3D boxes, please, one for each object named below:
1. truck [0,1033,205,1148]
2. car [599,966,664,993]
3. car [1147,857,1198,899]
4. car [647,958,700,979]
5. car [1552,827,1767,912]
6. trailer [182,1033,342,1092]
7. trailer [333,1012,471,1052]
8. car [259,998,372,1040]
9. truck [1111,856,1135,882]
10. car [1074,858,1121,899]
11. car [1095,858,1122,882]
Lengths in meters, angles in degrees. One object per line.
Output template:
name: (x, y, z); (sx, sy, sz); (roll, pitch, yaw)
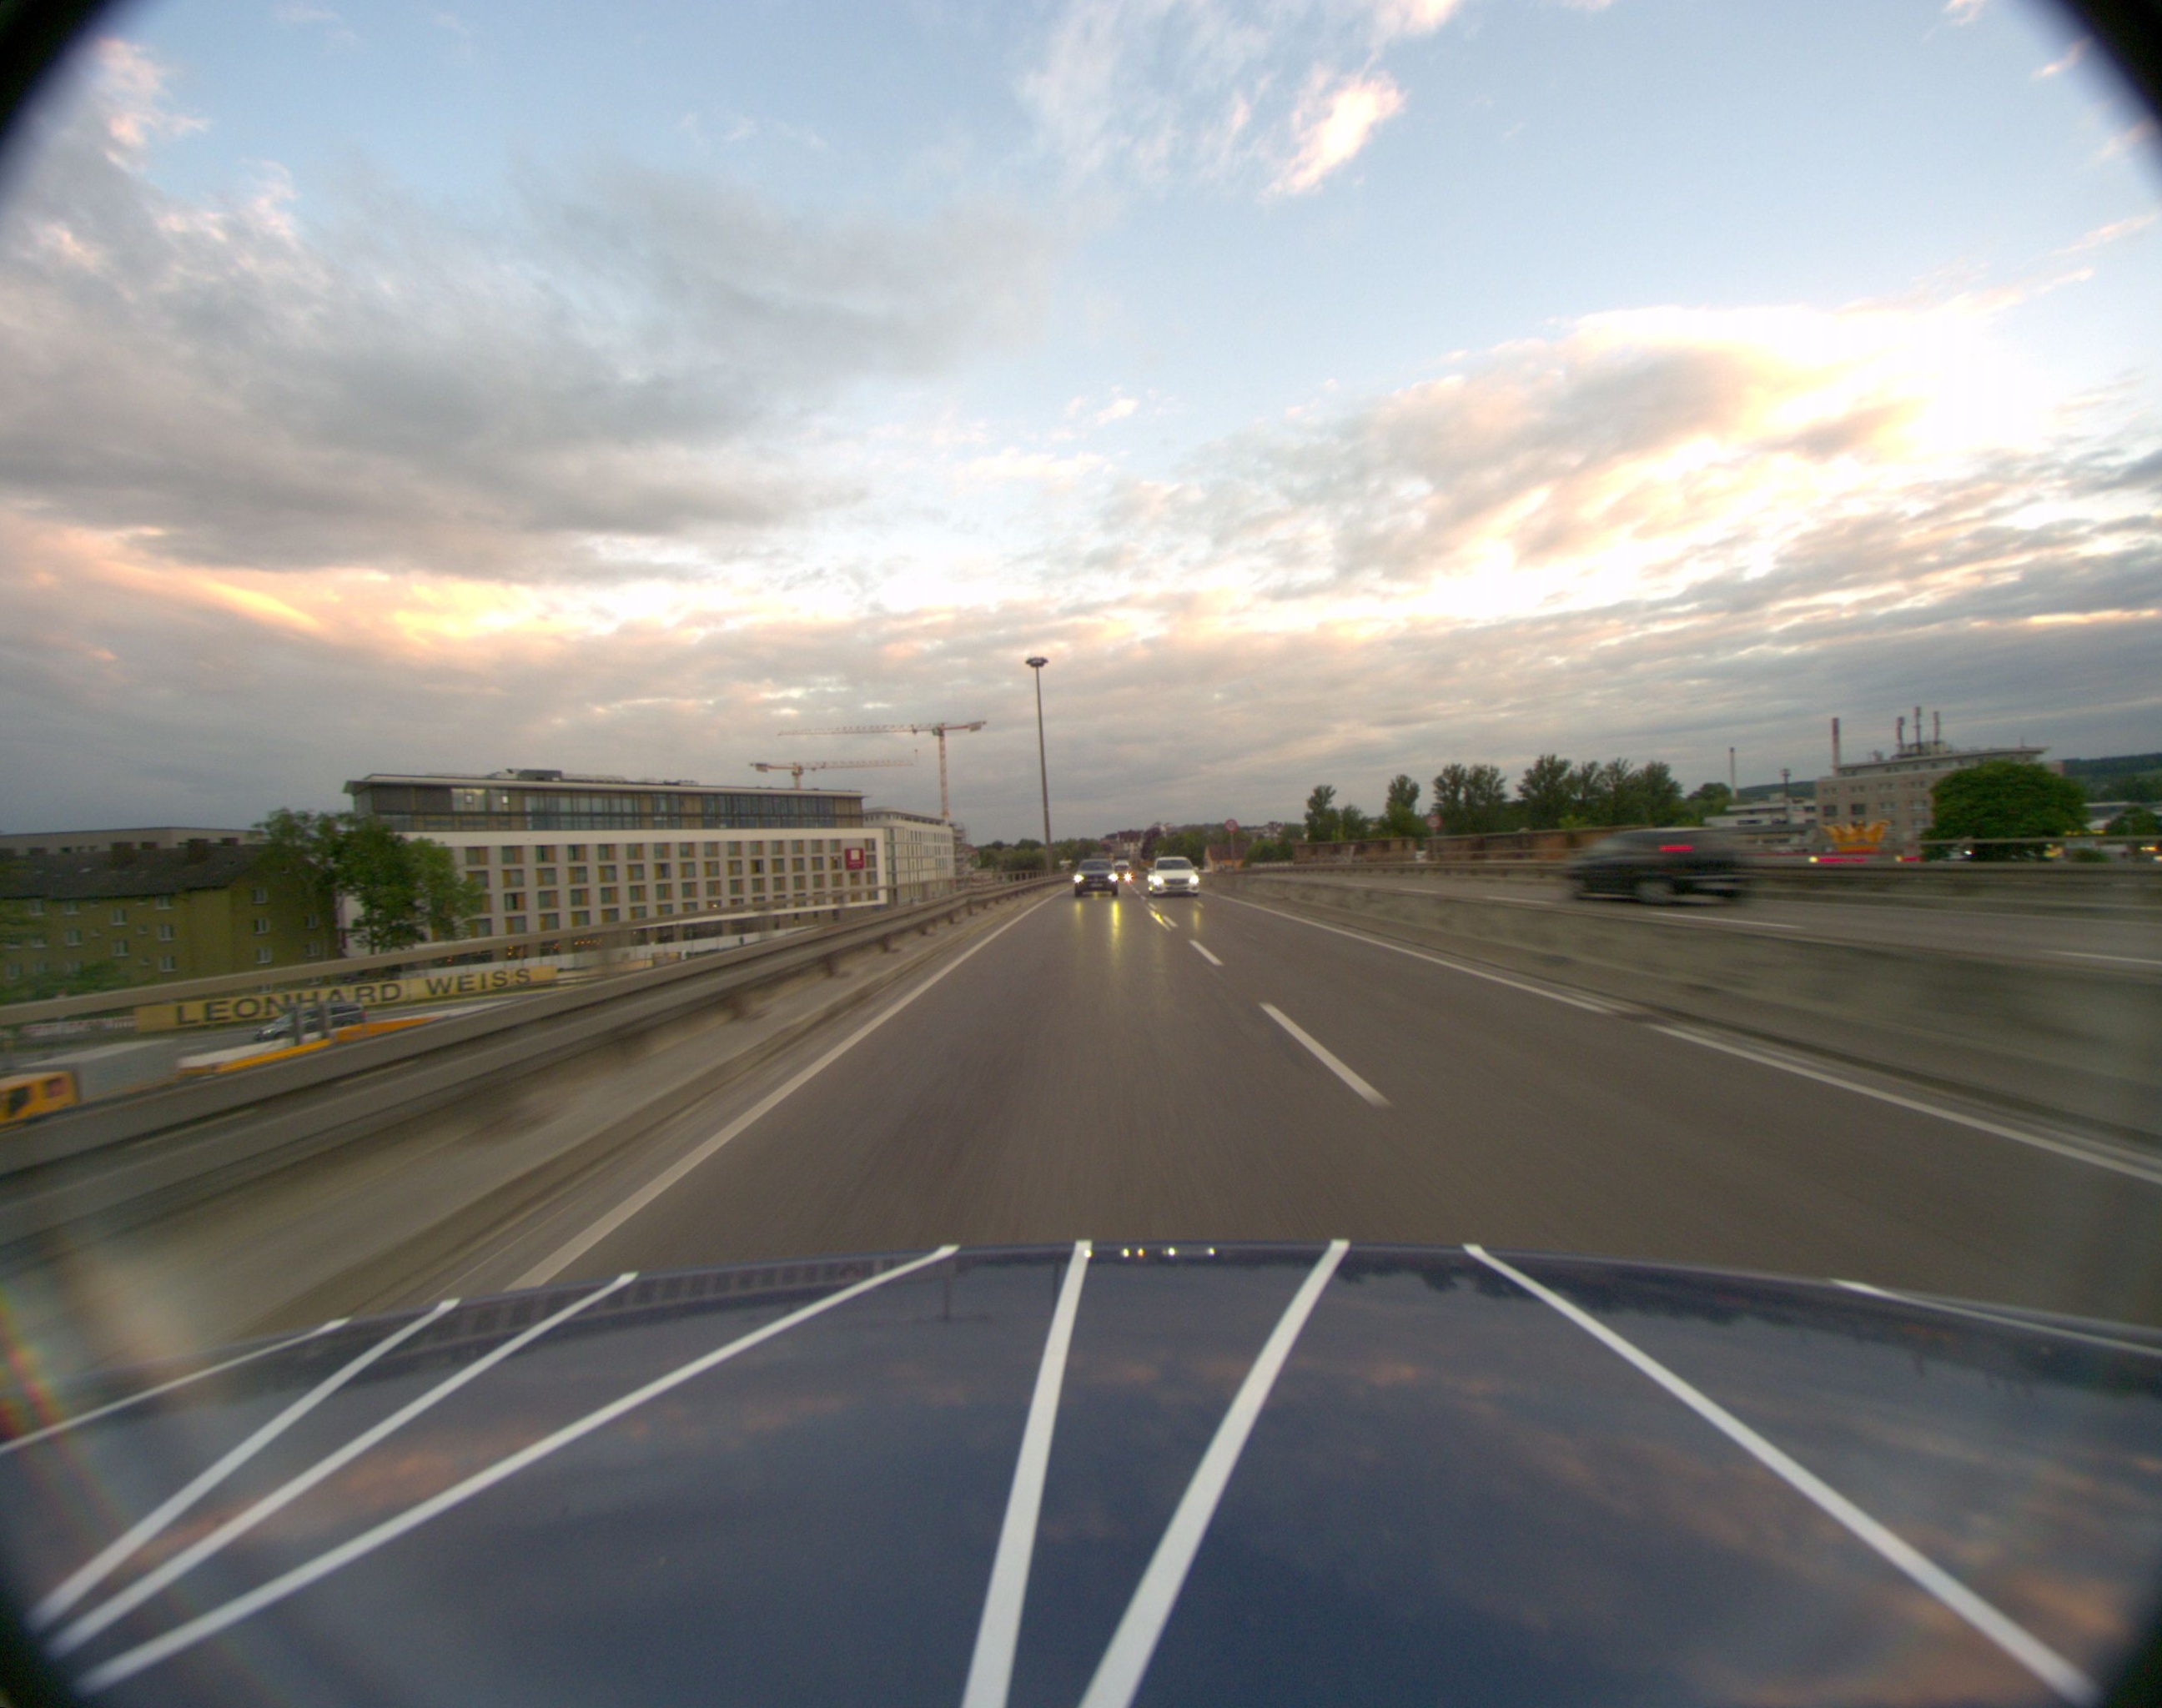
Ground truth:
truck: (-43.789, 10.237, 33.406); (2.163, 2.930, 7.335); (-5, -1, -4)
car: (-38.215, 10.650, 64.628); (4.603, 1.608, 1.996); (-2, -2, -35)
car: (3.670, 0.931, 31.121); (1.695, 1.528, 4.785); (-2, -1, 3)
car: (-38.856, 10.845, 72.423); (1.908, 1.433, 4.008); (-3, -2, 42)
car: (12.371, 0.282, 16.626); (1.661, 1.584, 4.042); (-2, 0, 1)
trailer: (-43.545, 11.048, 40.692); (1.998, 1.339, 5.874); (-8, -1, 1)
trailer: (-41.152, 10.775, 46.214); (5.877, 1.340, 2.024); (-2, 1, -18)
car: (-51.212, 11.000, 50.938); (1.995, 1.866, 5.103); (-6, -4, 37)
truck: (7.565, 2.576, 135.237); (3.163, 4.369, 8.798); (-2, 0, 9)
car: (0.735, 0.988, 31.887); (1.823, 1.602, 4.214); (-1, -1, 2)
car: (2.028, 1.199, 56.804); (1.891, 1.641, 4.345); (-2, -1, 1)
